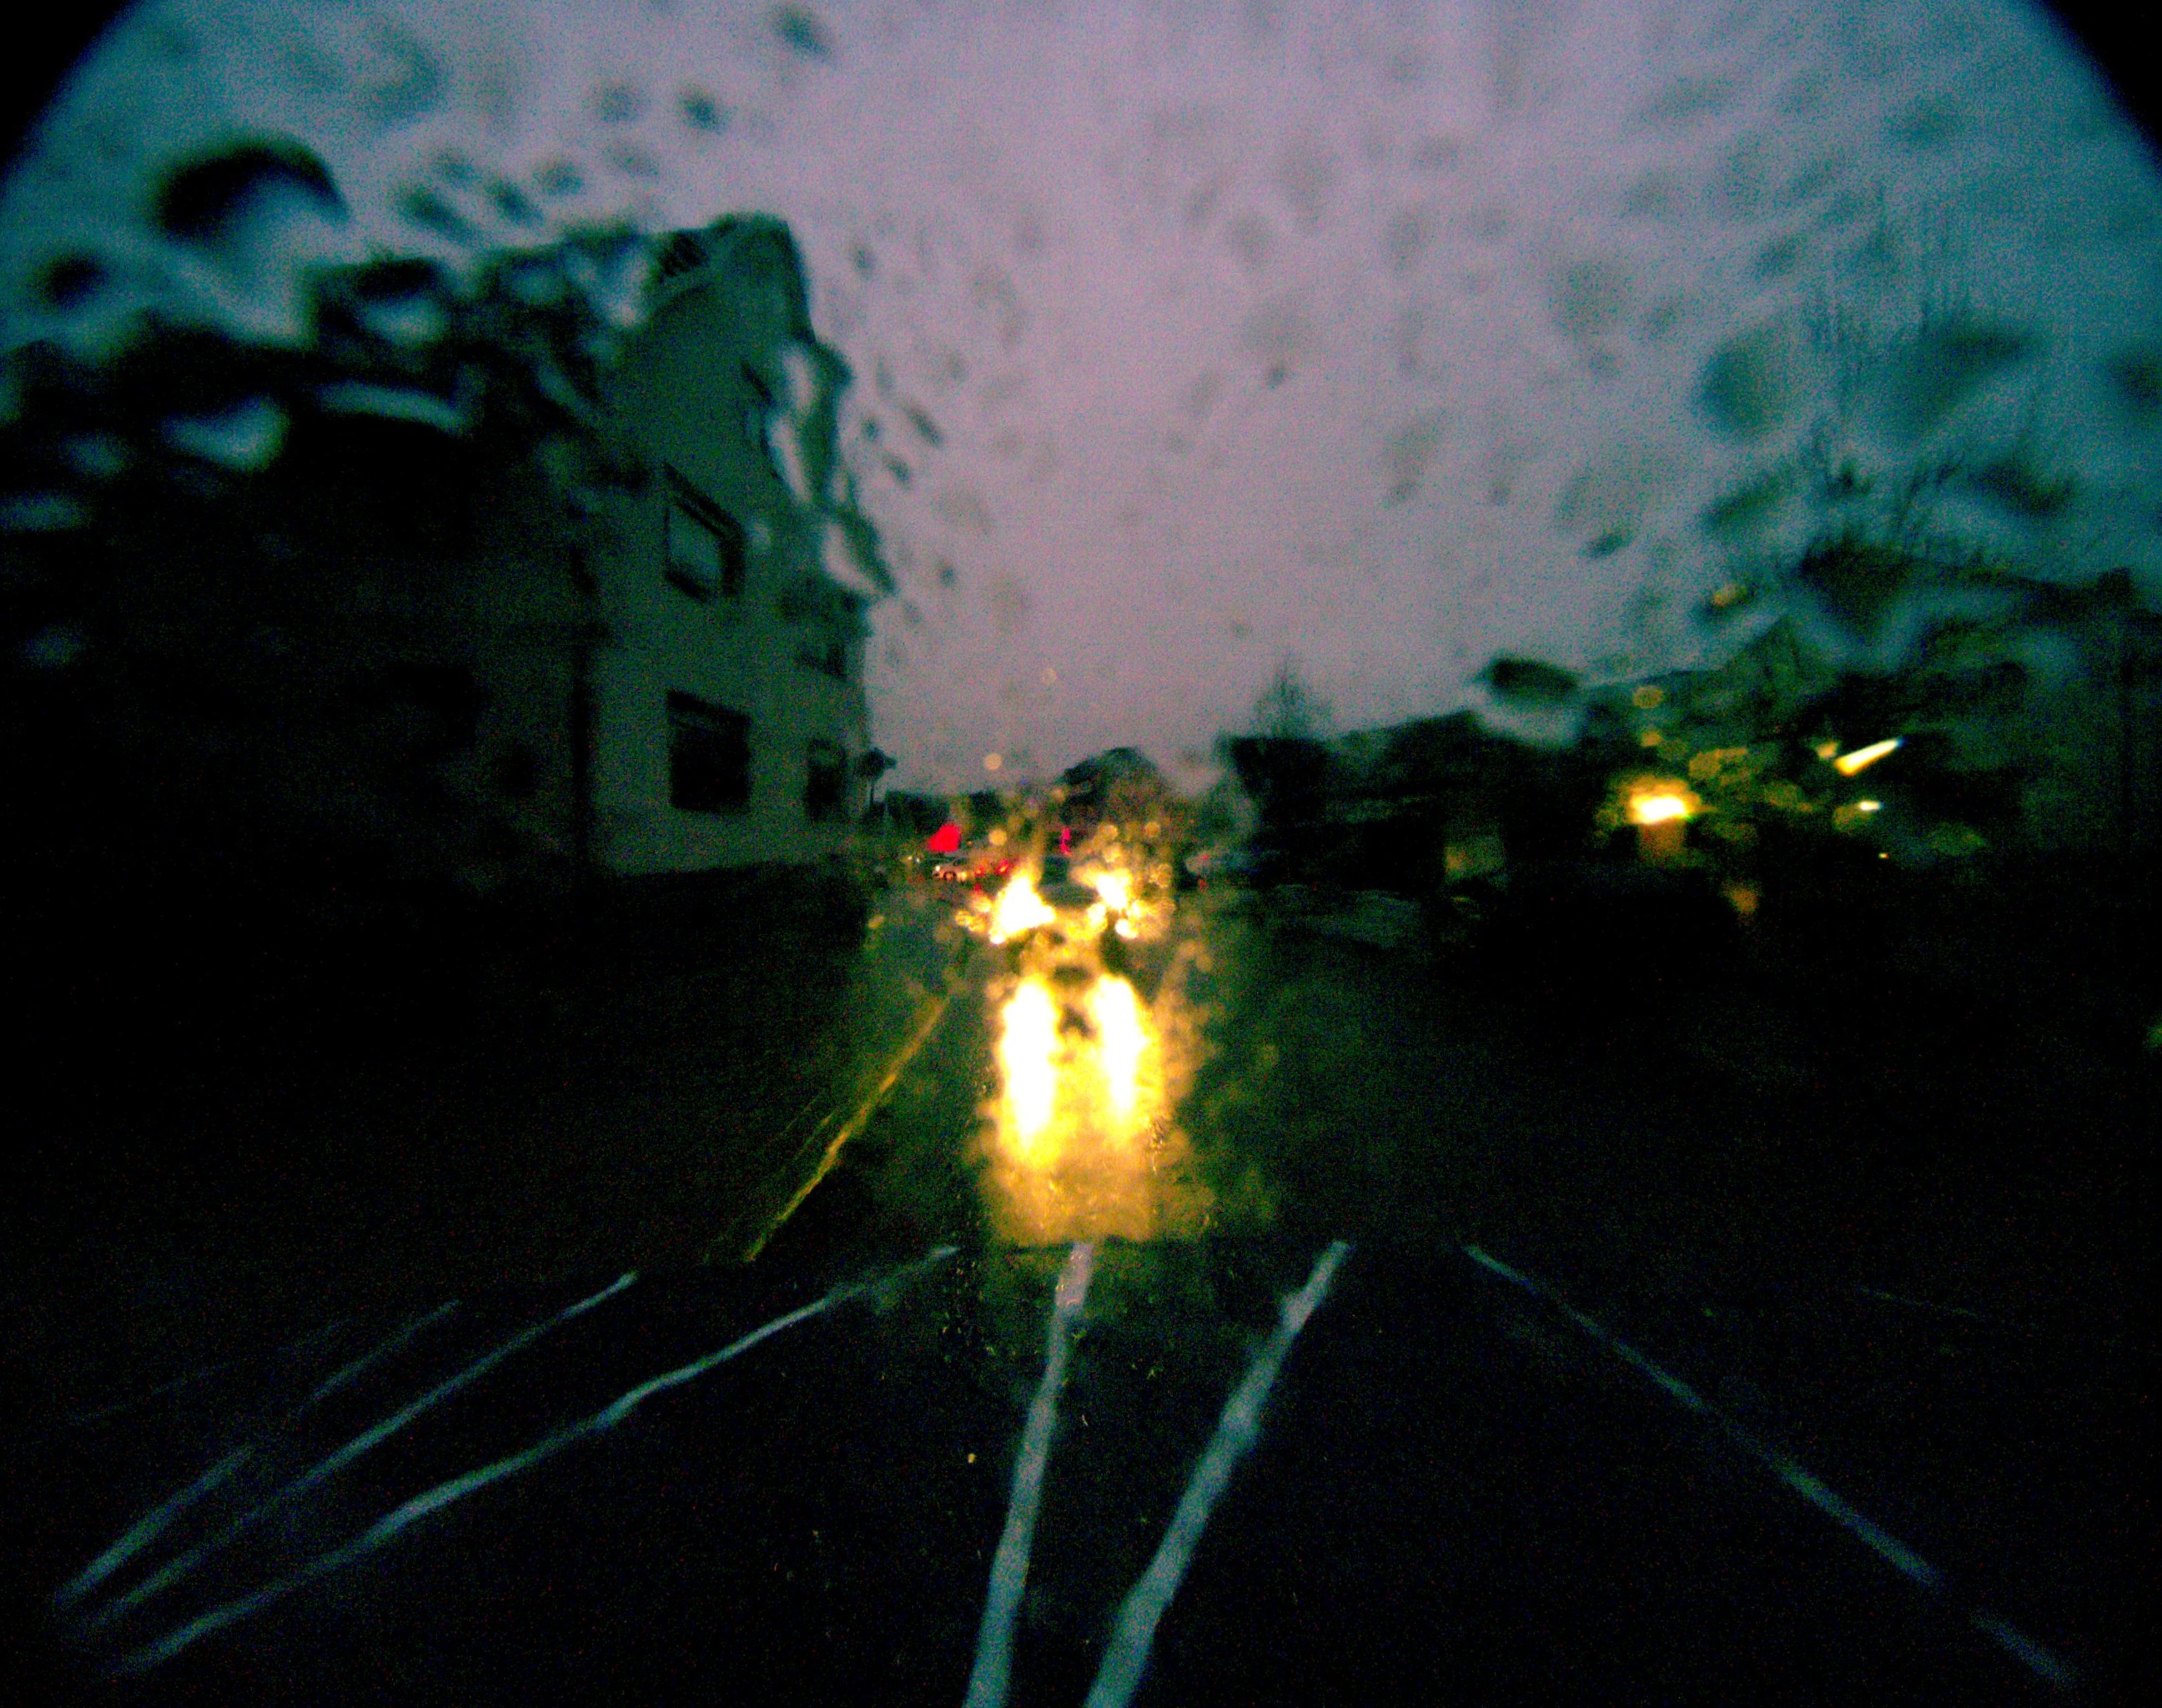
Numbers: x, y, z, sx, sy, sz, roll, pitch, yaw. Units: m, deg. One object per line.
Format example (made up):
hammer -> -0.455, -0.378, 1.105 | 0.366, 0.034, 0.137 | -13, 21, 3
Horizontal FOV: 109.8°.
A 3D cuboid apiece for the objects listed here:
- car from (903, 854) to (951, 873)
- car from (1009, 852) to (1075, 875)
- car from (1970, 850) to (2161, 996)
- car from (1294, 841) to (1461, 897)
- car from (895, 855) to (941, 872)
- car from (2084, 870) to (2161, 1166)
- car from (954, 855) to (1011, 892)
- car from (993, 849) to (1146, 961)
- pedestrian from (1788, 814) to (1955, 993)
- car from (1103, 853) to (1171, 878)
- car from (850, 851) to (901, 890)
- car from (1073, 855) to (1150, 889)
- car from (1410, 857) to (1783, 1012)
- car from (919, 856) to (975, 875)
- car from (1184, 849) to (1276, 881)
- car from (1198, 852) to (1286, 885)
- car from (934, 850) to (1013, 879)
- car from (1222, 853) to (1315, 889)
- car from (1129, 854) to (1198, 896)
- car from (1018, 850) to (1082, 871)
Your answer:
car -> -16.017, 1.006, 79.024 | 4.524, 1.855, 1.864 | -1, 0, -30
car -> -2.900, 0.698, 56.857 | 4.456, 1.623, 2.150 | -1, 1, -29
car -> 12.588, 0.701, 7.835 | 4.078, 1.468, 1.742 | 0, 0, 23
car -> 10.413, 0.503, 27.166 | 5.387, 1.874, 2.076 | 0, 0, 16
car -> -17.403, 1.015, 81.386 | 4.435, 1.790, 1.840 | -1, 0, -30
car -> 6.454, 0.828, 2.335 | 1.697, 1.507, 3.772 | -2, 0, -2
car -> -5.894, 1.079, 44.912 | 2.150, 1.850, 4.732 | -2, 2, -22
car -> -0.286, 0.753, 13.981 | 2.270, 1.633, 5.064 | -1, 0, -3
pedestrian -> 8.739, 0.519, 8.457 | 0.755, 1.856, 1.061 | -1, 1, 1
car -> 3.450, 0.687, 47.019 | 4.069, 1.451, 1.758 | -1, 1, 4
car -> -11.343, 0.878, 41.711 | 1.982, 1.948, 4.843 | -1, 0, -23
car -> 1.430, 0.851, 37.011 | 1.913, 1.524, 4.247 | -2, 0, -26
car -> 6.184, 0.824, 9.909 | 1.751, 1.464, 4.458 | -2, 0, -1
car -> -12.815, 1.080, 72.728 | 4.888, 1.673, 1.996 | -1, -1, -28
car -> 7.833, 0.575, 40.165 | 4.649, 1.644, 1.989 | -1, 1, 9
car -> 7.851, 0.681, 37.291 | 4.107, 1.573, 1.722 | 0, 1, 9
car -> -8.428, 0.812, 59.417 | 5.783, 1.934, 1.988 | -2, 0, -16
car -> 8.496, 0.765, 34.593 | 3.993, 1.521, 2.002 | -1, 0, 13
car -> 3.252, 0.813, 30.727 | 1.839, 1.527, 3.672 | -2, 0, -9
car -> -2.533, 0.564, 61.781 | 4.775, 1.625, 1.997 | 1, -2, -21
